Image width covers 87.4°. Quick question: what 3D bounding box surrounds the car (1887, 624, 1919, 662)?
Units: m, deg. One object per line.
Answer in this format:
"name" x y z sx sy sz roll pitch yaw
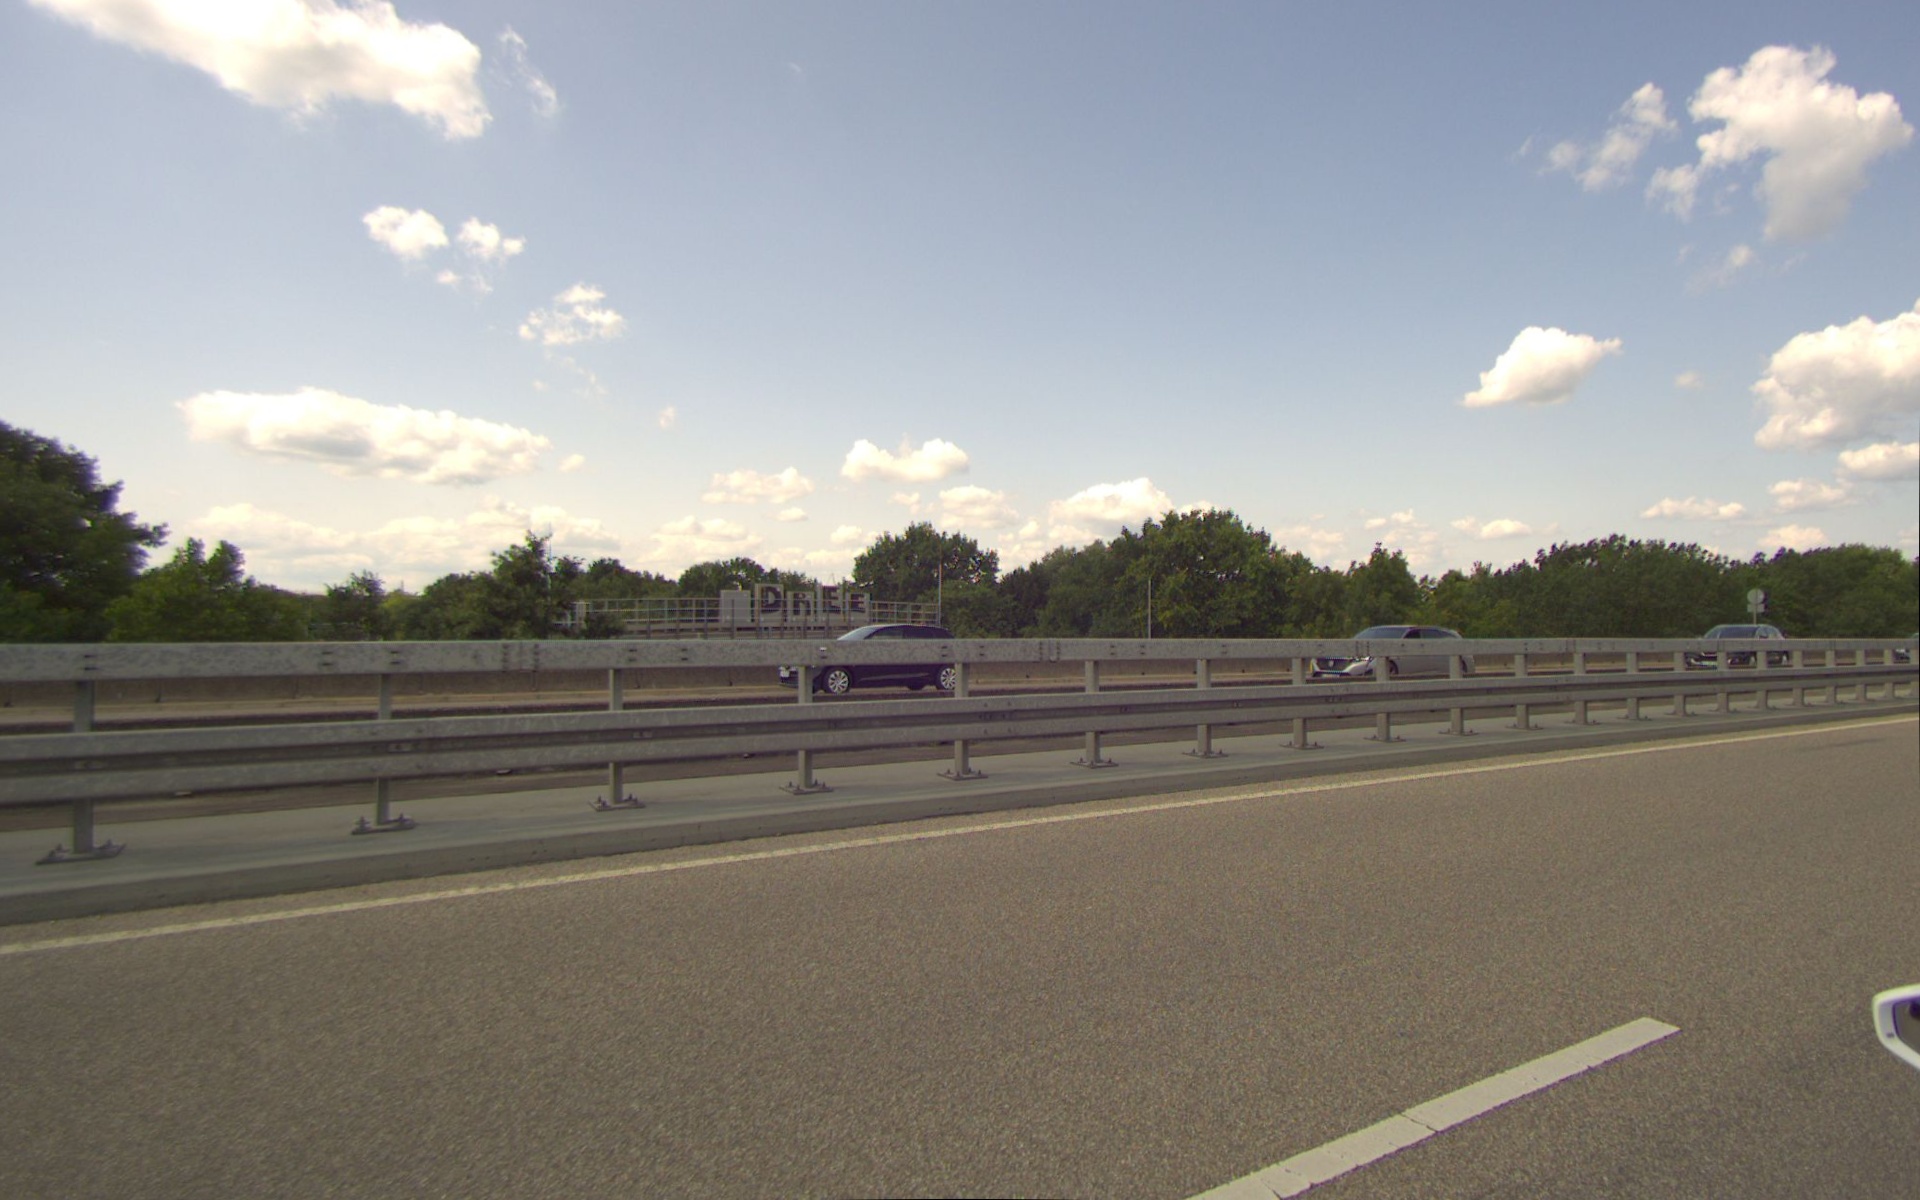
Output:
"car" 43.248 1.909 44.648 3.955 1.595 1.983 1 1 -32

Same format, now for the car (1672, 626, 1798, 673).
"car" 26.347 1.651 34.105 4.466 1.483 1.903 1 -1 -31

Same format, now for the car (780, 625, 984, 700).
"car" -1.594 1.253 21.055 3.955 1.420 1.669 1 -1 -31

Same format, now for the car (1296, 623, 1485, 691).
"car" 10.220 1.301 23.763 4.567 1.439 1.768 1 -1 -30
